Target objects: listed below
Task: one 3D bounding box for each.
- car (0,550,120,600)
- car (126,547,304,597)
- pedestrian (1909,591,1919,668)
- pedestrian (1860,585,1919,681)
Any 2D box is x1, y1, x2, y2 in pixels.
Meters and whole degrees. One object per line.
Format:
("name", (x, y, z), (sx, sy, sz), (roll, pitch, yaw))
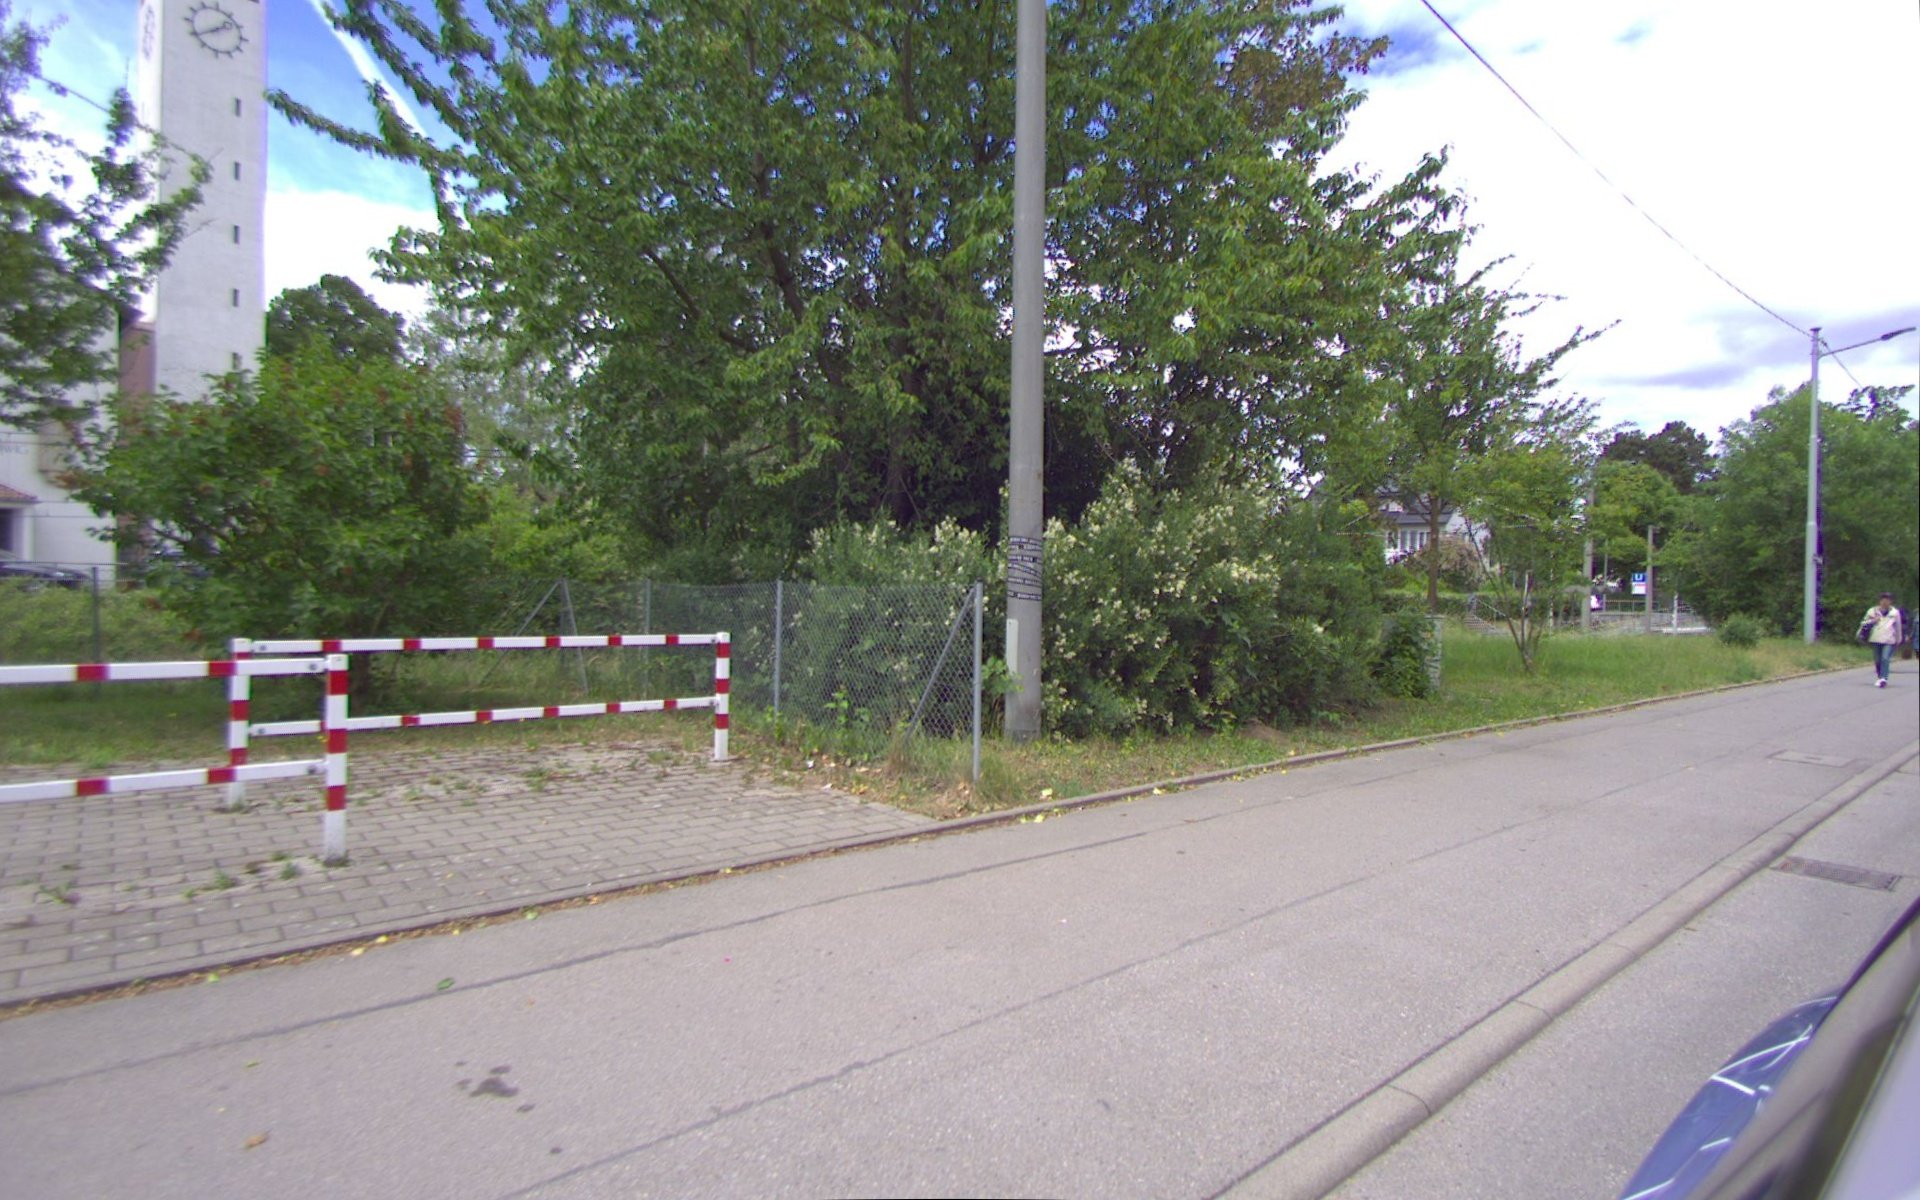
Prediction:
("car", (-27.036, -0.742, 28.573), (4.723, 1.348, 2.004), (1, 2, -24))
("car", (-22.122, -0.833, 30.249), (3.916, 1.348, 2.004), (1, 2, -24))
("pedestrian", (21.401, 0.640, 22.105), (0.751, 1.680, 0.842), (1, -1, -34))
("pedestrian", (16.662, 0.571, 18.112), (0.677, 1.680, 0.688), (1, -1, -34))
